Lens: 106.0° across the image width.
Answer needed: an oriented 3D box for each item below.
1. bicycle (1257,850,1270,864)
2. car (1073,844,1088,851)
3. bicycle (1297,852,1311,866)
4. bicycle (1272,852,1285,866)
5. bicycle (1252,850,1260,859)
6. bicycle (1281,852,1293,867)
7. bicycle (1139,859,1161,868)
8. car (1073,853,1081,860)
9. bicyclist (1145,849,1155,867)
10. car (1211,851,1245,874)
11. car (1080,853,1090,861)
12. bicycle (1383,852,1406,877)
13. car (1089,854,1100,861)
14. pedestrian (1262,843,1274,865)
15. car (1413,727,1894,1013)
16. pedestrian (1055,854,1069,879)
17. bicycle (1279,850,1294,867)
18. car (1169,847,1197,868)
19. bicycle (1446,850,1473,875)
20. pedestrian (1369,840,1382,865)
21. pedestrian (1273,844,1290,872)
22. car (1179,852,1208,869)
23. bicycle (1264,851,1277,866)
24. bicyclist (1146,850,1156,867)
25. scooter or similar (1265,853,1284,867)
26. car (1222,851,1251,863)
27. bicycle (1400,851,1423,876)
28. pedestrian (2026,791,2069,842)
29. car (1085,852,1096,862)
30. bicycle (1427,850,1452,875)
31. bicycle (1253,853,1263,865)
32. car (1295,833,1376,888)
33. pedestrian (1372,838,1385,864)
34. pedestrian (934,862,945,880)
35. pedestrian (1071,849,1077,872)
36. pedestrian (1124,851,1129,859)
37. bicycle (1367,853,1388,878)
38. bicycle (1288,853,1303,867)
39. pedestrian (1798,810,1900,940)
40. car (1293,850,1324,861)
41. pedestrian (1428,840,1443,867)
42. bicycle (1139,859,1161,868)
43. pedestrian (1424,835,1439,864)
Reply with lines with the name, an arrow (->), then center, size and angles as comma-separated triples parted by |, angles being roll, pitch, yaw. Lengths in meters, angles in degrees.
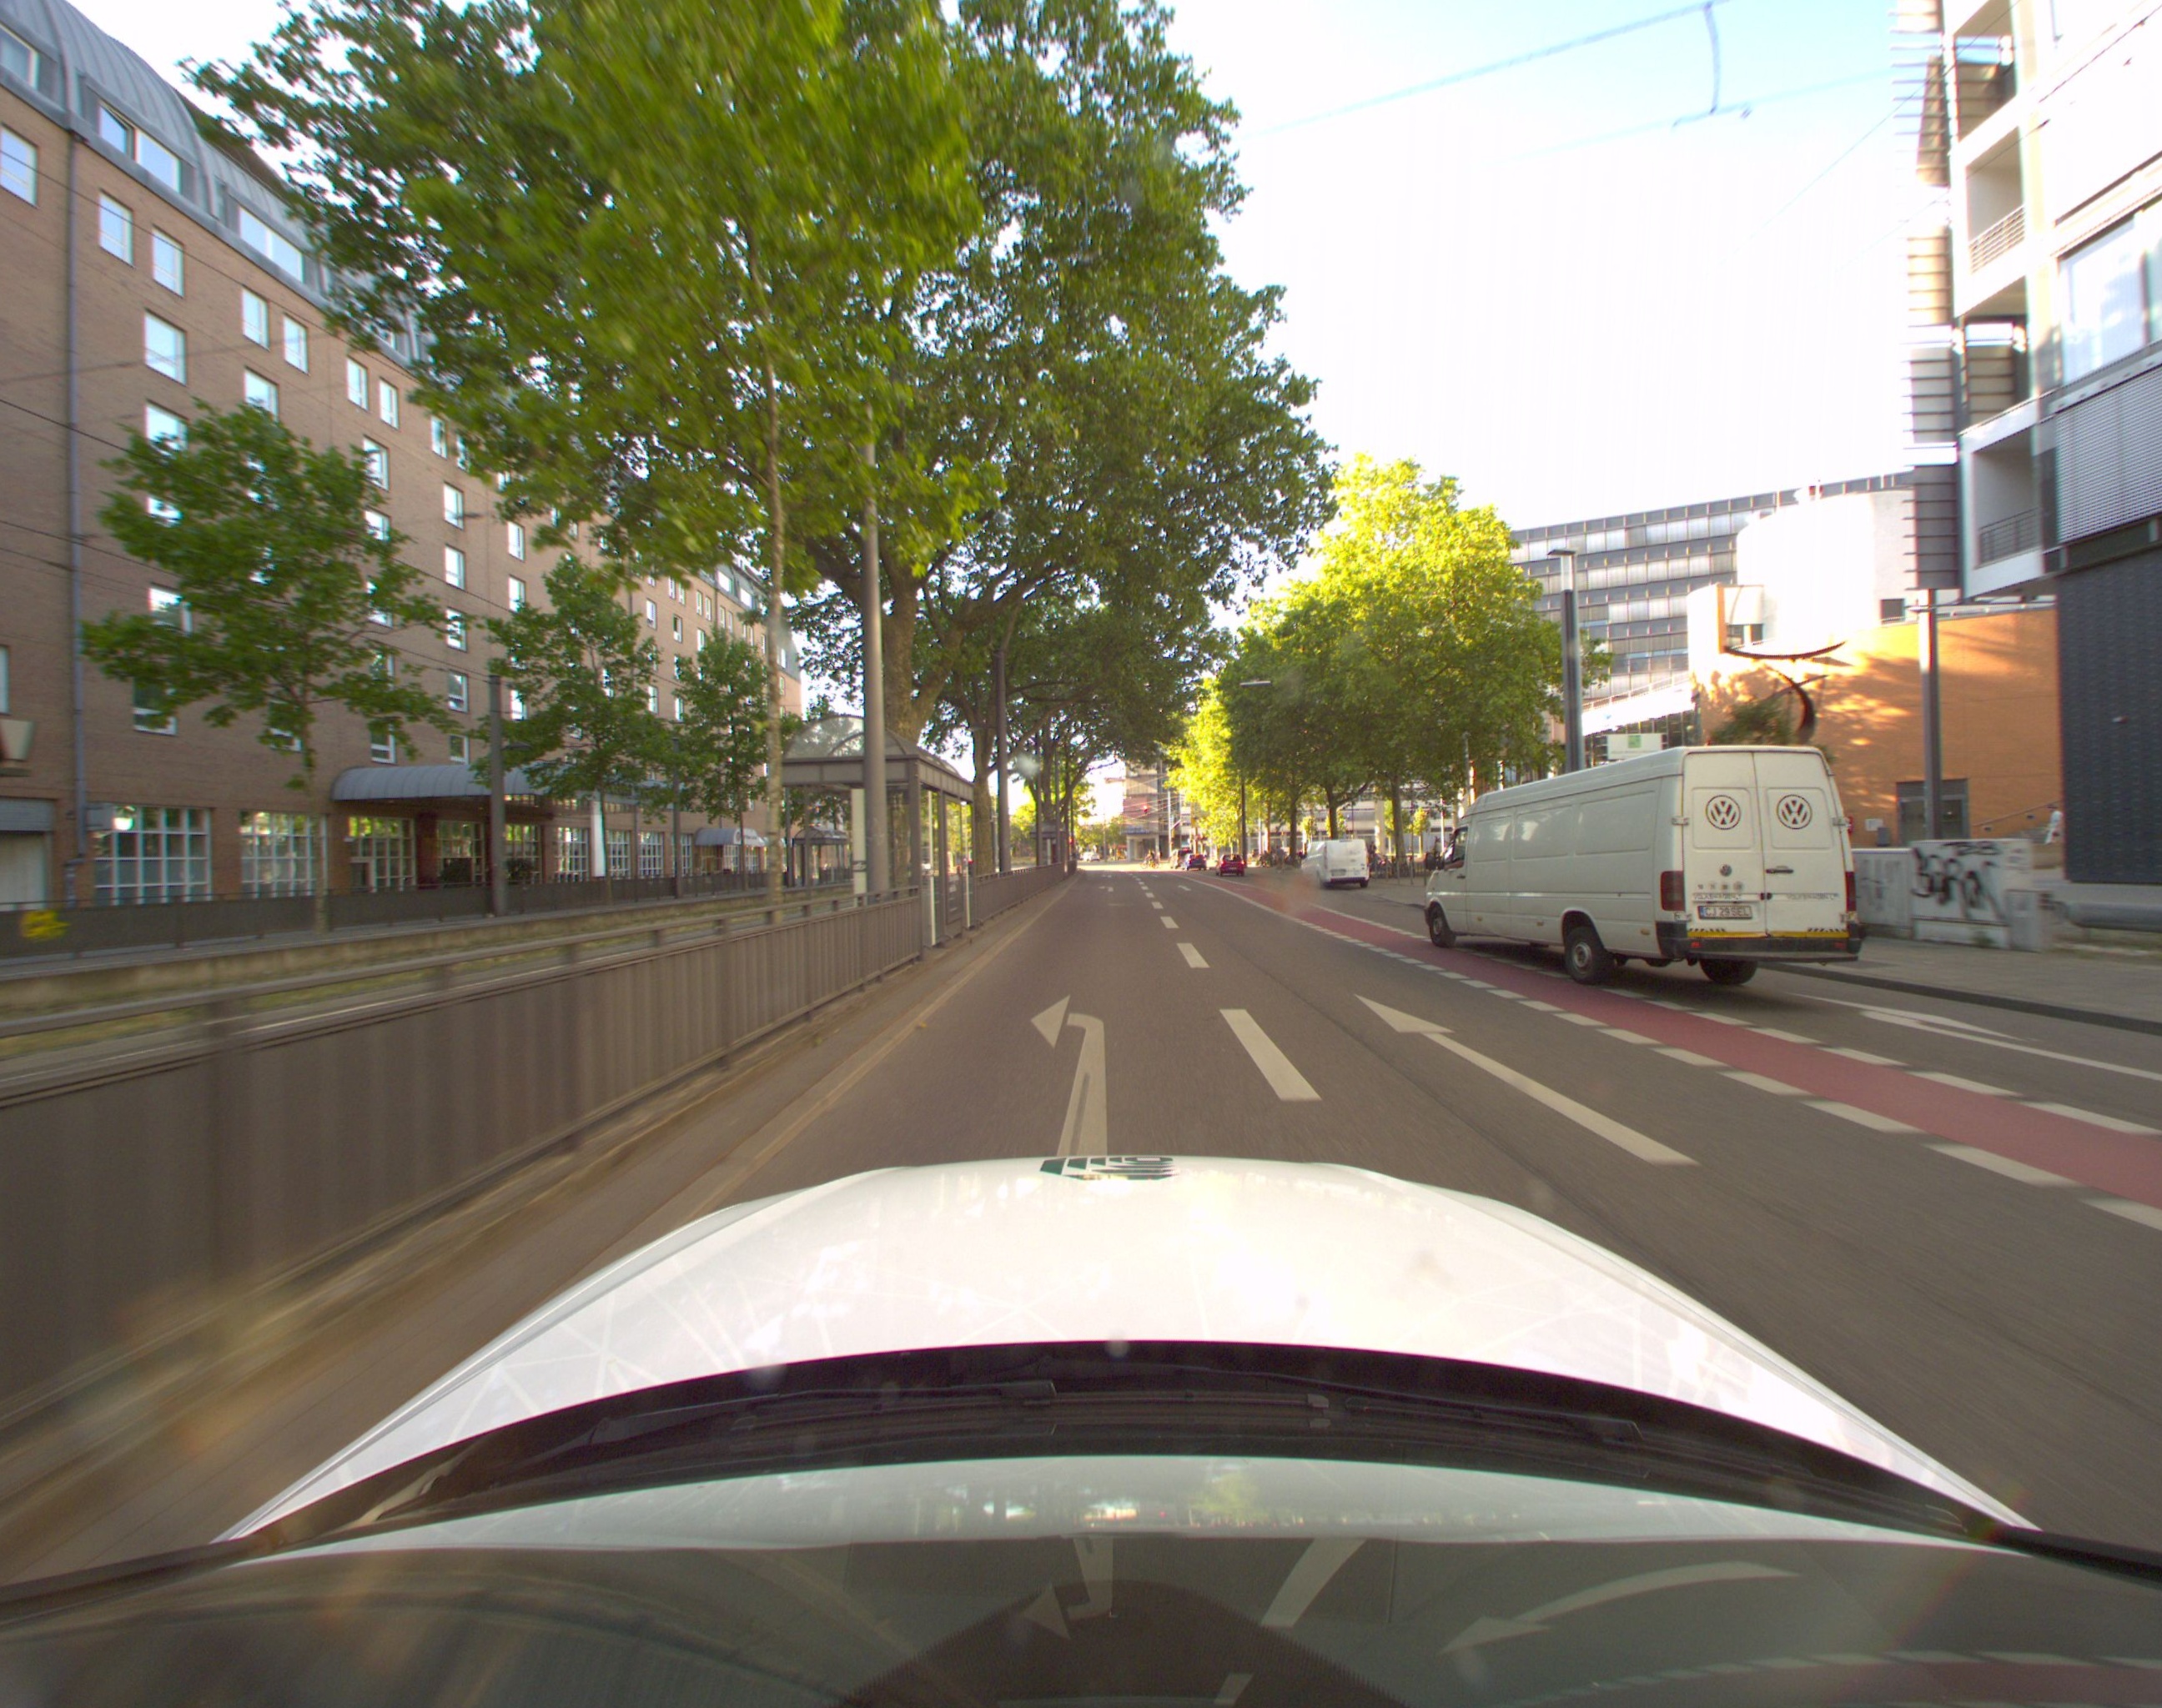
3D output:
bicycle -> 15.198, 0.215, 67.872 | 0.590, 1.116, 1.837 | -2, 0, 26
car -> -0.073, -1.716, 218.619 | 3.735, 1.750, 1.788 | 0, -1, 13
bicycle -> 17.023, 0.380, 62.133 | 0.594, 1.031, 1.654 | -2, 0, -1
bicycle -> 16.257, 0.413, 66.881 | 0.590, 1.116, 1.837 | -2, 0, 26
bicycle -> 18.015, 0.043, 83.806 | 0.449, 0.983, 1.475 | -2, 0, -3
bicycle -> 16.865, 0.443, 66.617 | 0.601, 1.116, 1.837 | -2, 0, 26
bicycle -> 6.996, 0.965, 82.900 | 2.172, 0.933, 0.667 | -2, 0, -3
car -> -0.996, 0.724, 203.547 | 1.988, 1.662, 3.998 | -2, 0, -1
bicyclist -> 7.028, 0.430, 82.899 | 0.847, 1.785, 0.752 | -2, 0, -3
car -> 9.891, 0.583, 54.951 | 1.554, 1.464, 3.619 | -1, 0, -1
car -> 0.879, 0.705, 182.059 | 1.988, 1.662, 3.998 | -2, 0, -1
bicycle -> 15.249, 0.494, 39.652 | 0.658, 1.137, 2.409 | -2, 0, 13
car -> 2.694, 0.668, 159.847 | 1.988, 1.332, 3.998 | -2, 0, -1
pedestrian -> 15.504, 0.023, 67.449 | 0.798, 1.786, 0.661 | -2, 0, 25
car -> 6.804, 0.151, 11.057 | 1.987, 2.724, 6.562 | 0, 0, 1
pedestrian -> -1.093, 0.708, 46.499 | 0.731, 1.387, 0.641 | 0, -1, 3
bicycle -> 15.627, 0.312, 62.016 | 0.594, 1.264, 1.875 | -2, 0, -1
car -> 9.852, 0.308, 78.851 | 1.988, 1.966, 5.135 | 0, 0, -1
bicycle -> 18.149, 0.395, 39.090 | 0.658, 1.137, 2.409 | -2, 0, 13
pedestrian -> 22.302, -0.137, 61.708 | 0.634, 1.888, 0.721 | -2, 0, 1
pedestrian -> 13.284, 0.279, 53.890 | 0.869, 1.786, 0.808 | -2, 0, -1
car -> 9.917, 0.571, 72.134 | 1.760, 1.464, 4.213 | -2, 0, -2
bicycle -> 15.658, 0.357, 67.223 | 0.590, 1.116, 1.961 | -2, 0, 26
bicyclist -> 7.257, 0.446, 84.653 | 0.847, 1.767, 0.752 | -2, 0, -3
scooter or similar -> 16.353, 0.485, 68.908 | 1.255, 1.142, 0.912 | 2, -3, -15
car -> 23.830, 0.465, 124.927 | 4.218, 1.602, 1.799 | -2, 0, 7
bicycle -> 16.029, 0.454, 39.537 | 0.658, 1.137, 2.409 | -2, 0, 13
pedestrian -> 32.904, -1.268, 27.725 | 0.536, 1.676, 0.723 | -2, 0, 1
car -> 1.875, 0.683, 166.637 | 1.988, 1.991, 3.998 | -2, 0, -1
bicycle -> 17.258, 0.399, 39.251 | 0.658, 1.137, 2.409 | -2, 0, 13
bicycle -> 15.670, 0.423, 72.082 | 0.624, 1.057, 1.574 | -2, 0, 5
car -> 10.745, 0.252, 34.764 | 2.113, 2.134, 5.296 | -2, 0, 4
pedestrian -> 22.272, -0.236, 60.933 | 0.634, 1.888, 0.721 | -2, 0, 1
pedestrian -> -13.569, 1.641, 78.136 | 1.072, 1.682, 0.755 | -1, -1, -9
pedestrian -> -0.567, 0.534, 65.935 | 0.508, 1.900, 0.759 | 0, -1, 0
pedestrian -> 8.417, 0.244, 150.185 | 0.737, 1.465, 0.536 | -2, 0, -3
bicycle -> 14.487, 0.534, 39.792 | 0.658, 1.137, 2.409 | -2, 0, 13
bicycle -> 16.342, 0.453, 62.115 | 0.594, 1.031, 1.654 | -2, 0, -1
pedestrian -> 11.214, 0.296, 11.928 | 0.588, 1.808, 0.896 | -2, 0, 2
car -> 34.560, 0.239, 123.843 | 4.221, 1.560, 1.798 | -2, 0, 4
pedestrian -> 22.901, -0.041, 52.656 | 0.640, 1.755, 0.563 | -2, 0, -4
bicycle -> 7.203, 0.982, 84.652 | 2.172, 0.933, 0.667 | -2, 0, -3
pedestrian -> 22.278, -0.278, 51.752 | 0.640, 1.842, 0.563 | -2, 0, -4
